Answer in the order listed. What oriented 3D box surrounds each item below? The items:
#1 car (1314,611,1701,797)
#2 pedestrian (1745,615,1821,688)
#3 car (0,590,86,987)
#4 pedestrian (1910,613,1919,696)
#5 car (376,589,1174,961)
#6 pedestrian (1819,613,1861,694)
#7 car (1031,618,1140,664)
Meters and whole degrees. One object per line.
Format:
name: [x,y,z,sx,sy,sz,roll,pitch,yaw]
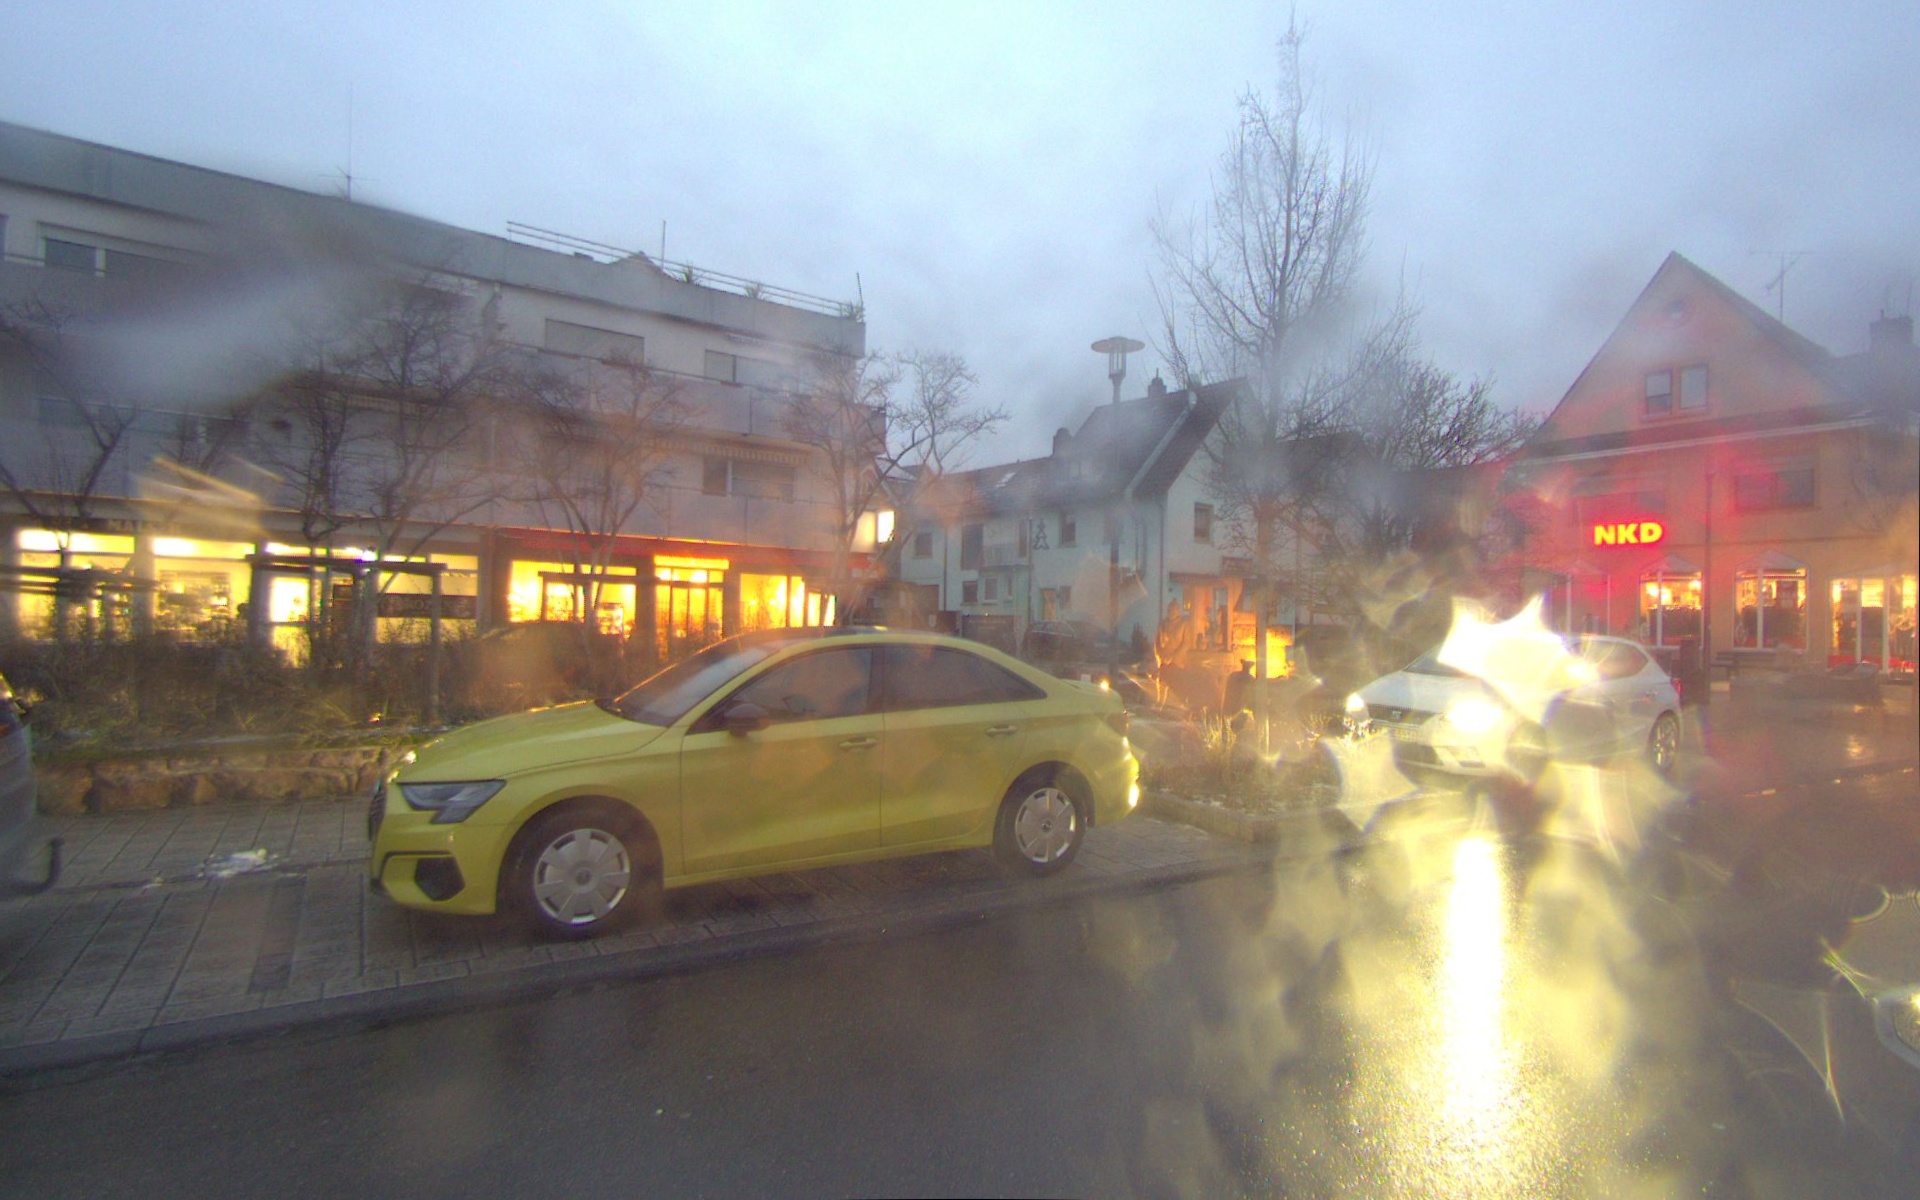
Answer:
car: [5.676,0.948,10.313,3.953,1.536,1.661,2,1,-30]
pedestrian: [17.758,1.104,21.686,0.766,1.437,0.887,2,5,-25]
car: [-5.638,0.693,3.444,3.733,1.536,1.682,2,0,-33]
pedestrian: [21.043,1.174,21.410,0.952,1.766,0.966,0,1,-36]
car: [-0.963,0.777,6.007,4.289,1.536,1.741,2,1,-29]
pedestrian: [19.637,1.173,22.411,0.678,1.765,0.583,1,-1,-37]
car: [4.584,1.474,37.061,1.604,1.539,3.854,2,-1,-43]
